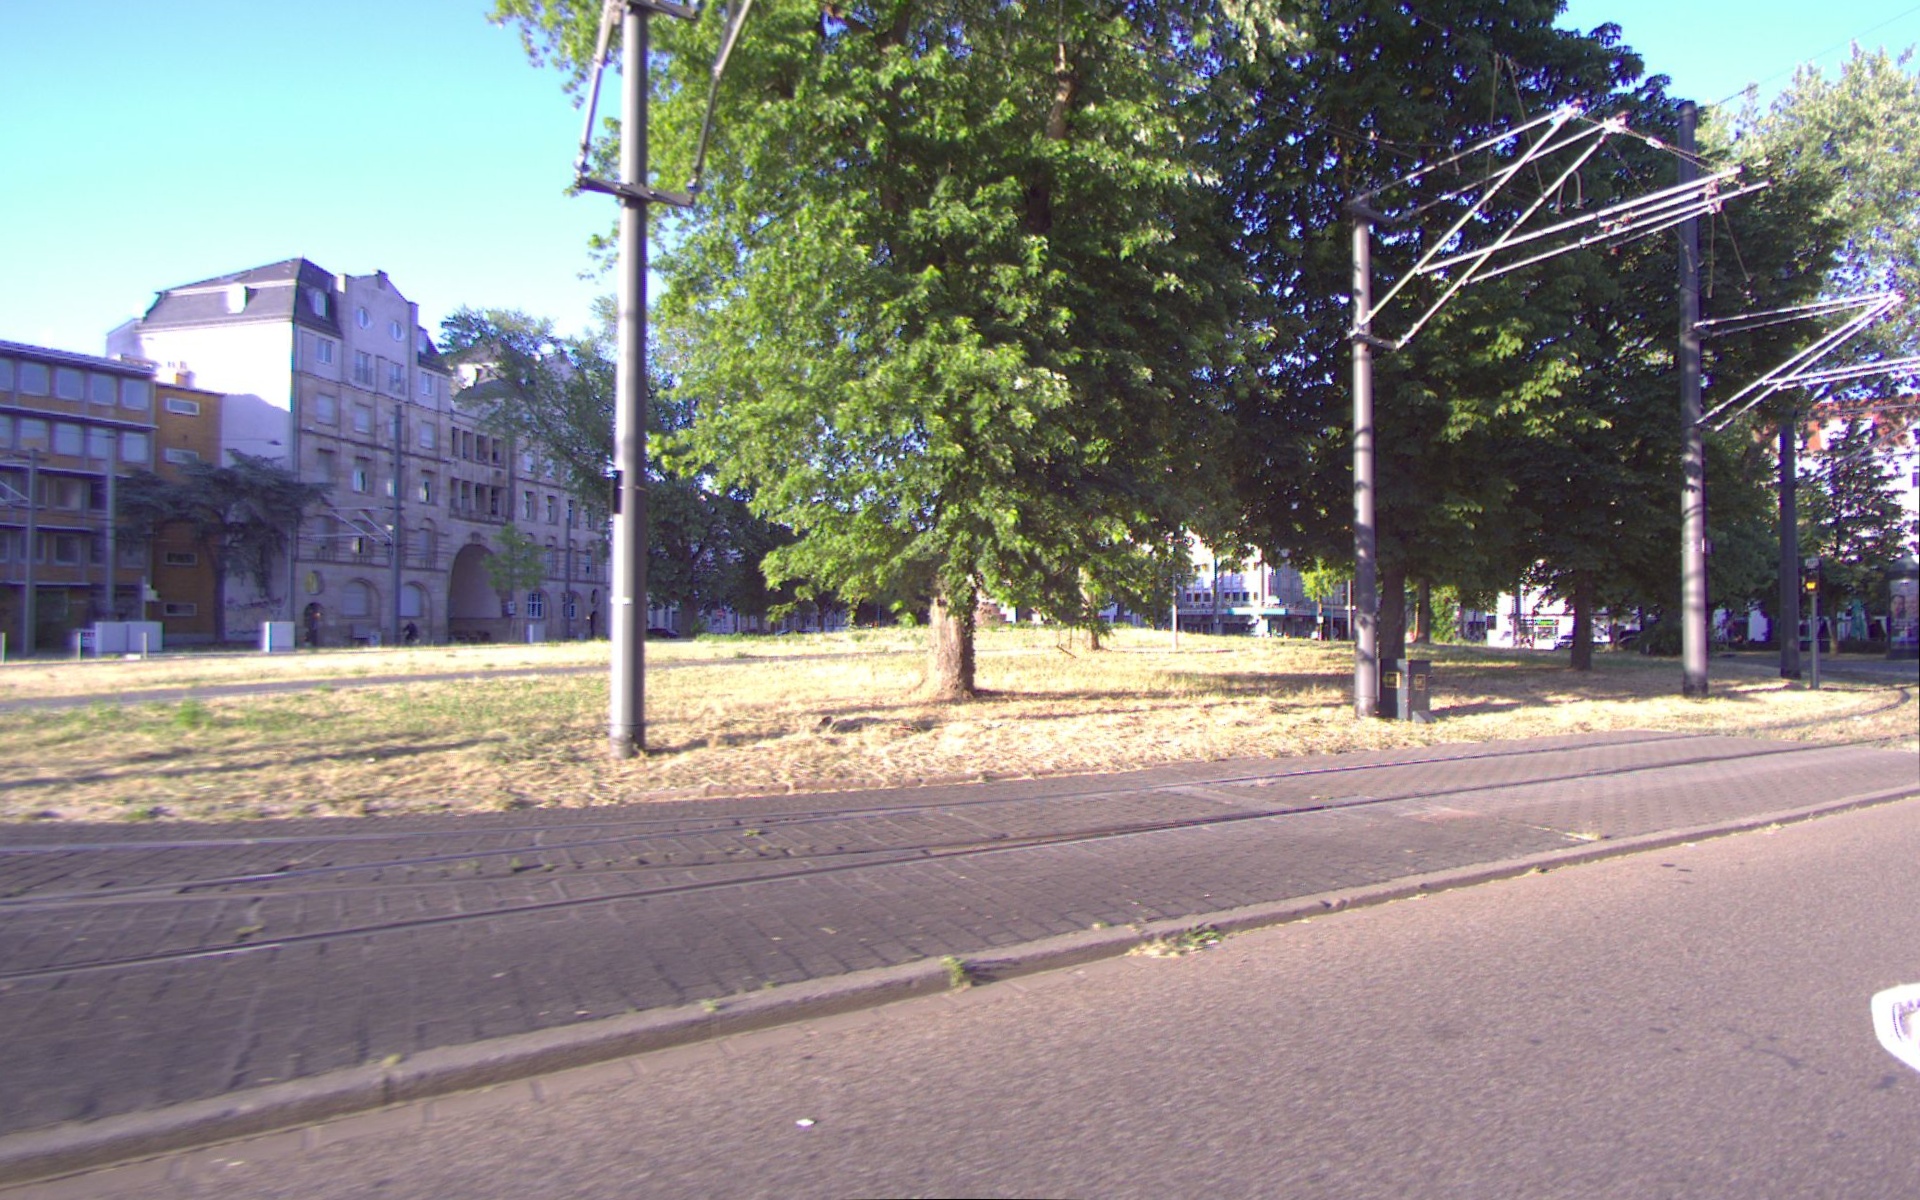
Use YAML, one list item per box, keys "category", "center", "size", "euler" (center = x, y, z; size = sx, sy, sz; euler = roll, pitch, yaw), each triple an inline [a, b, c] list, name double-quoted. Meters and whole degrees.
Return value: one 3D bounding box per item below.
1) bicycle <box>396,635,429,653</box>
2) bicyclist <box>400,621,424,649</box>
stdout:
- category: "bicycle"
  center: [-33.843, 2.717, 62.134]
  size: [0.463, 1.024, 2.203]
  euler: [1, -1, 13]
- category: "bicyclist"
  center: [-33.828, 2.171, 61.983]
  size: [0.934, 1.713, 0.898]
  euler: [1, 0, 11]
